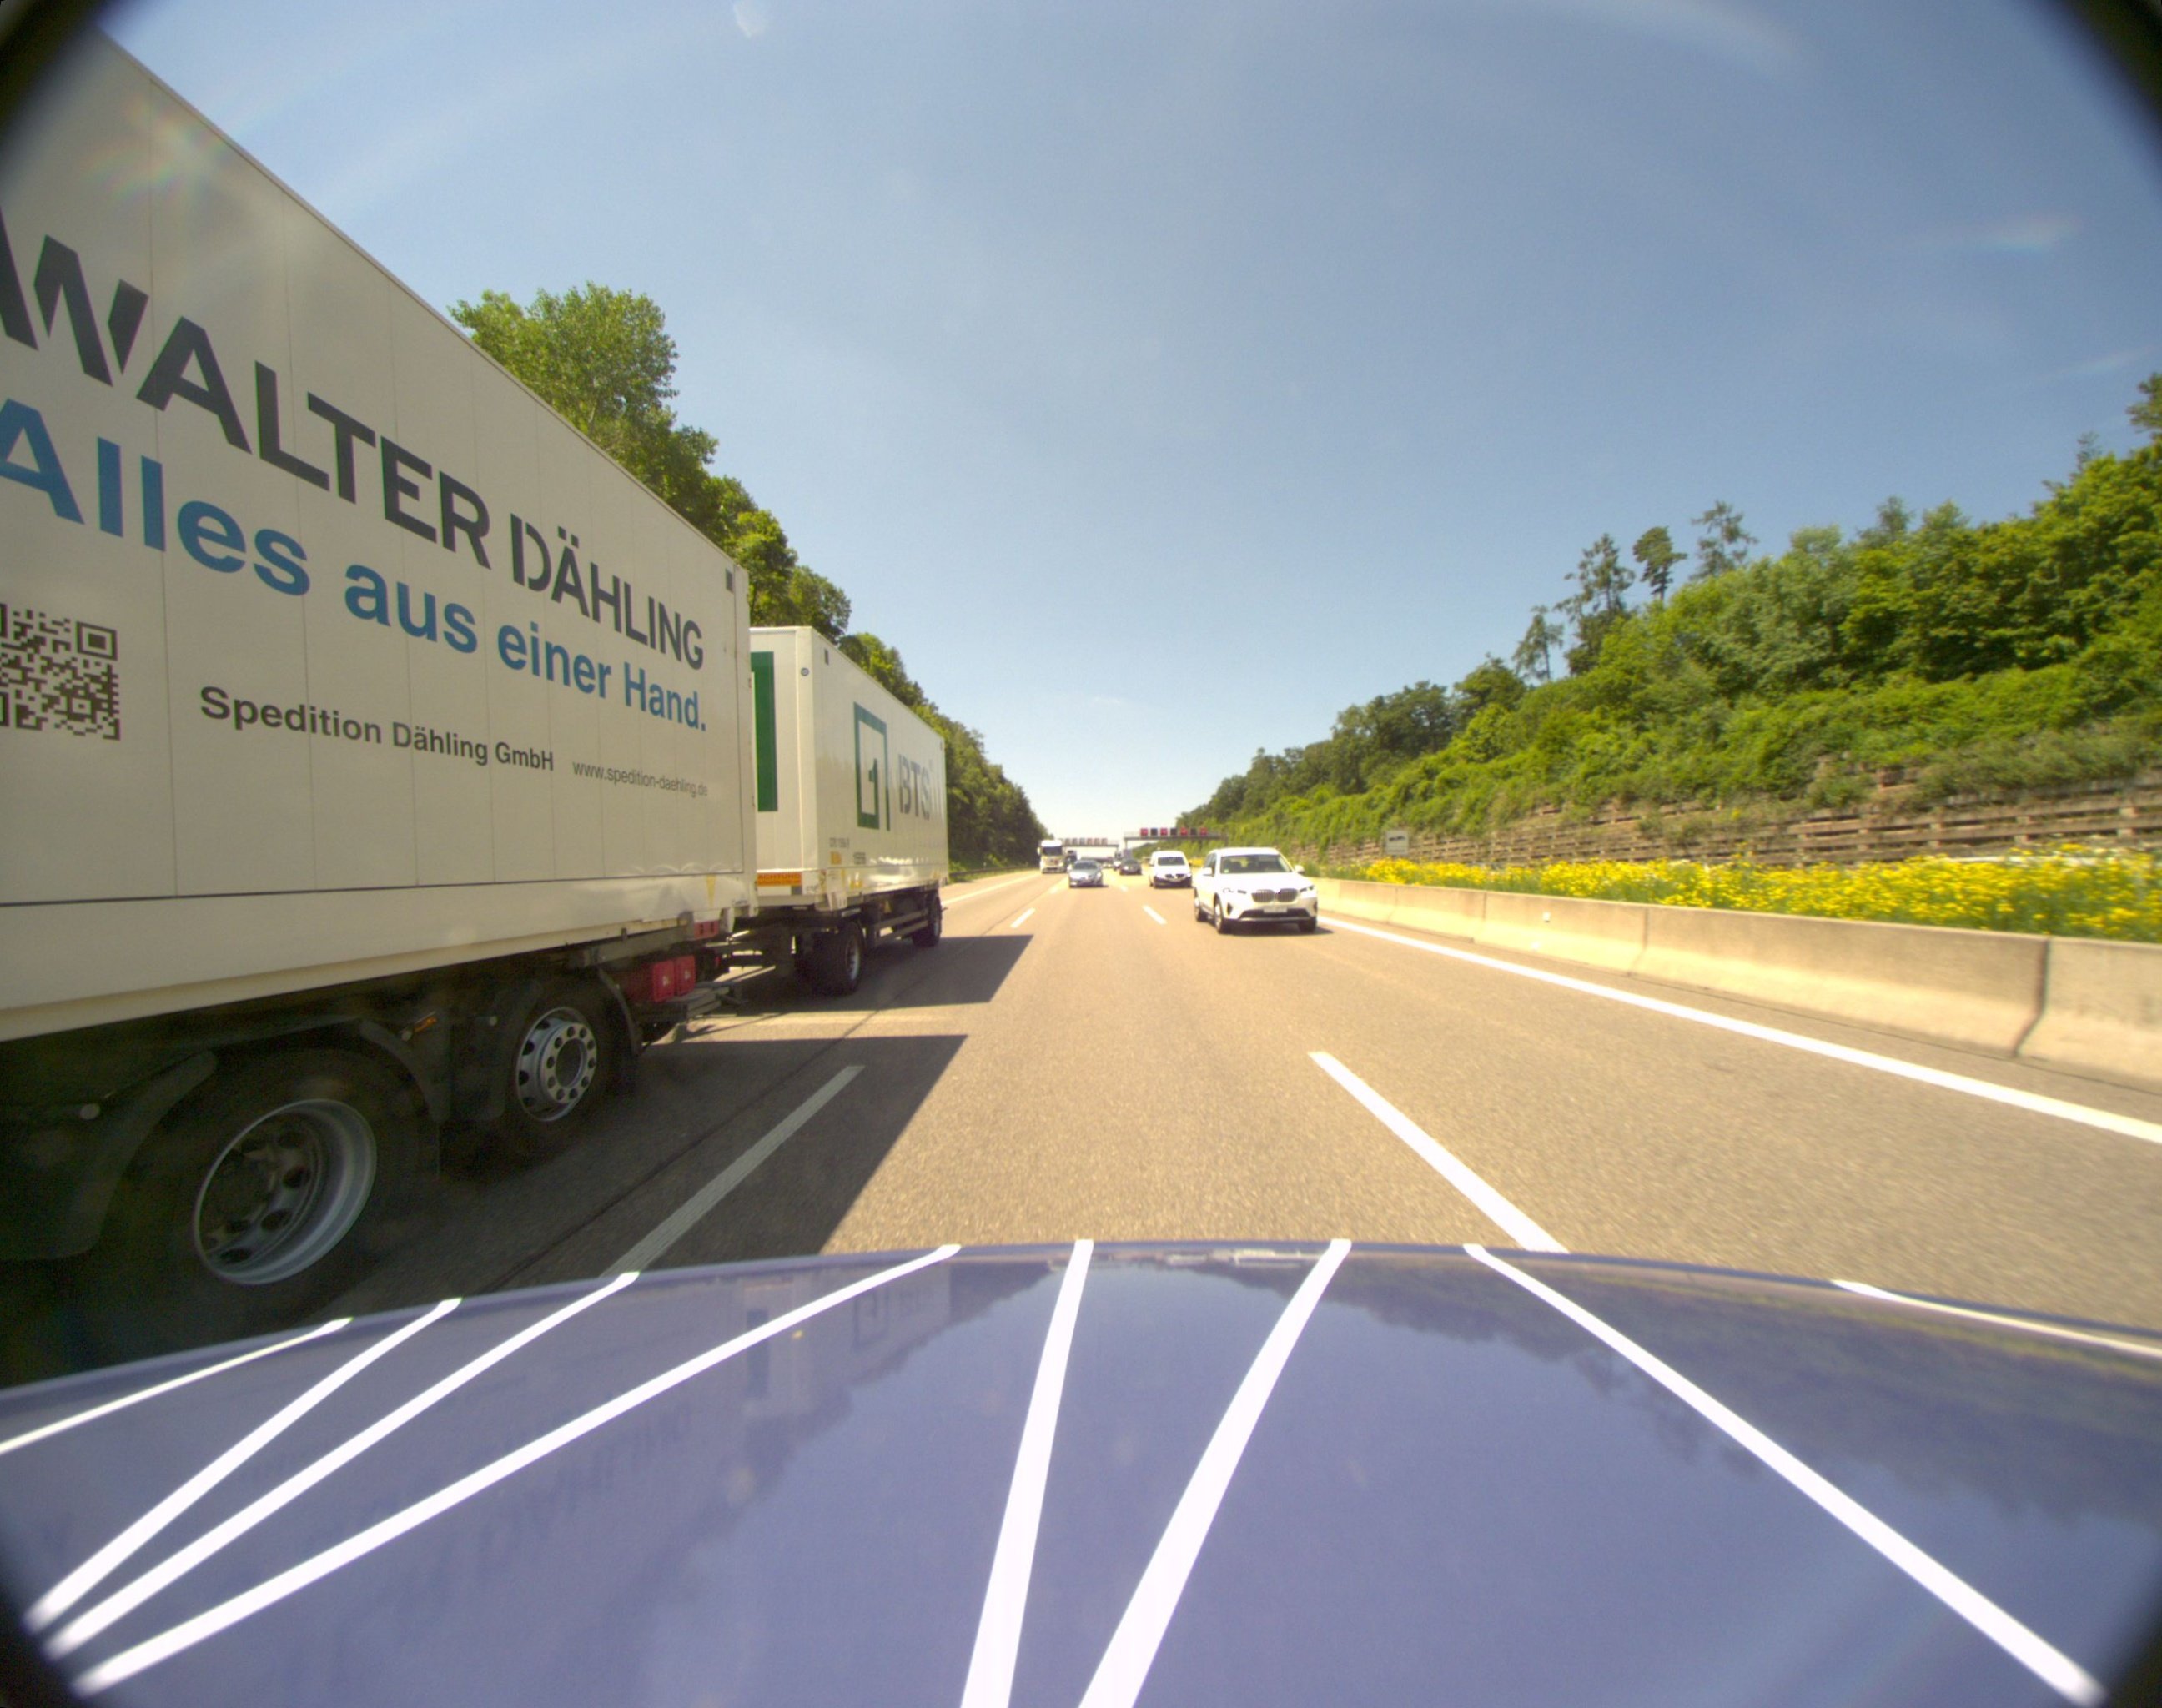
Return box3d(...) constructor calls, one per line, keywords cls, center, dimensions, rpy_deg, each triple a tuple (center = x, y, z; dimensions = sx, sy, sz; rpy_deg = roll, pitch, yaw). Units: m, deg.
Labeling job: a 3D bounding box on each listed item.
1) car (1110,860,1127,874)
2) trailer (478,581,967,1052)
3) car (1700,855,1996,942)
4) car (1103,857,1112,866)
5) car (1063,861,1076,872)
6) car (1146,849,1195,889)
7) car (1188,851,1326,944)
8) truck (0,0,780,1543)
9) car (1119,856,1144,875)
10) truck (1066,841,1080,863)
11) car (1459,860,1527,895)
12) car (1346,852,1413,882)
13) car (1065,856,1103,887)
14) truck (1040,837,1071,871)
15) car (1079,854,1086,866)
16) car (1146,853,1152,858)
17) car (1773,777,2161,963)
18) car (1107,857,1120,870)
box3d(cls="car", center=(4.328, 1.473, 88.962), dimensions=(1.770, 1.504, 4.001), rpy_deg=(-3, -1, 0))
box3d(cls="trailer", center=(-3.978, -0.257, 11.861), dimensions=(2.687, 4.150, 10.066), rpy_deg=(-2, -1, 0))
box3d(cls="car", center=(15.117, 0.792, 15.376), dimensions=(1.792, 1.513, 4.156), rpy_deg=(0, 0, 0))
box3d(cls="car", center=(5.991, 1.680, 170.093), dimensions=(1.924, 1.848, 4.001), rpy_deg=(-3, -1, 2))
box3d(cls="car", center=(-1.699, 1.874, 114.032), dimensions=(1.770, 1.504, 4.001), rpy_deg=(-3, -1, 0))
box3d(cls="car", center=(4.383, 0.728, 37.888), dimensions=(1.998, 1.764, 4.502), rpy_deg=(-3, -1, 2))
box3d(cls="car", center=(3.502, 0.784, 15.964), dimensions=(1.850, 1.634, 4.368), rpy_deg=(-2, 0, 0))
box3d(cls="truck", center=(-4.029, -0.310, 1.303), dimensions=(2.687, 4.035, 10.626), rpy_deg=(-2, -1, 0))
box3d(cls="car", center=(4.308, 1.025, 65.585), dimensions=(1.770, 1.504, 4.726), rpy_deg=(-3, -1, 0))
box3d(cls="truck", center=(-1.610, -0.370, 160.553), dimensions=(2.627, 4.364, 13.089), rpy_deg=(-3, -1, 0))
box3d(cls="car", center=(19.038, 1.056, 35.209), dimensions=(1.442, 1.513, 3.153), rpy_deg=(0, 0, 0))
box3d(cls="car", center=(15.847, 0.681, 40.569), dimensions=(1.792, 1.513, 4.586), rpy_deg=(0, 0, 0))
box3d(cls="car", center=(0.203, 0.929, 41.239), dimensions=(1.843, 1.517, 4.502), rpy_deg=(-3, -1, 2))
box3d(cls="truck", center=(-2.803, 0.137, 87.626), dimensions=(2.844, 3.517, 13.089), rpy_deg=(-3, -1, 0))
box3d(cls="car", center=(0.482, 1.881, 235.650), dimensions=(1.924, 3.522, 4.826), rpy_deg=(-3, -1, 2))
box3d(cls="car", center=(22.008, 0.580, 244.991), dimensions=(1.704, 1.513, 3.153), rpy_deg=(0, 0, 0))
box3d(cls="car", center=(11.404, 0.139, 9.245), dimensions=(1.895, 1.796, 4.502), rpy_deg=(-3, -1, 2))
box3d(cls="car", center=(5.222, 1.510, 120.852), dimensions=(1.924, 1.848, 4.001), rpy_deg=(-3, -1, 2))
